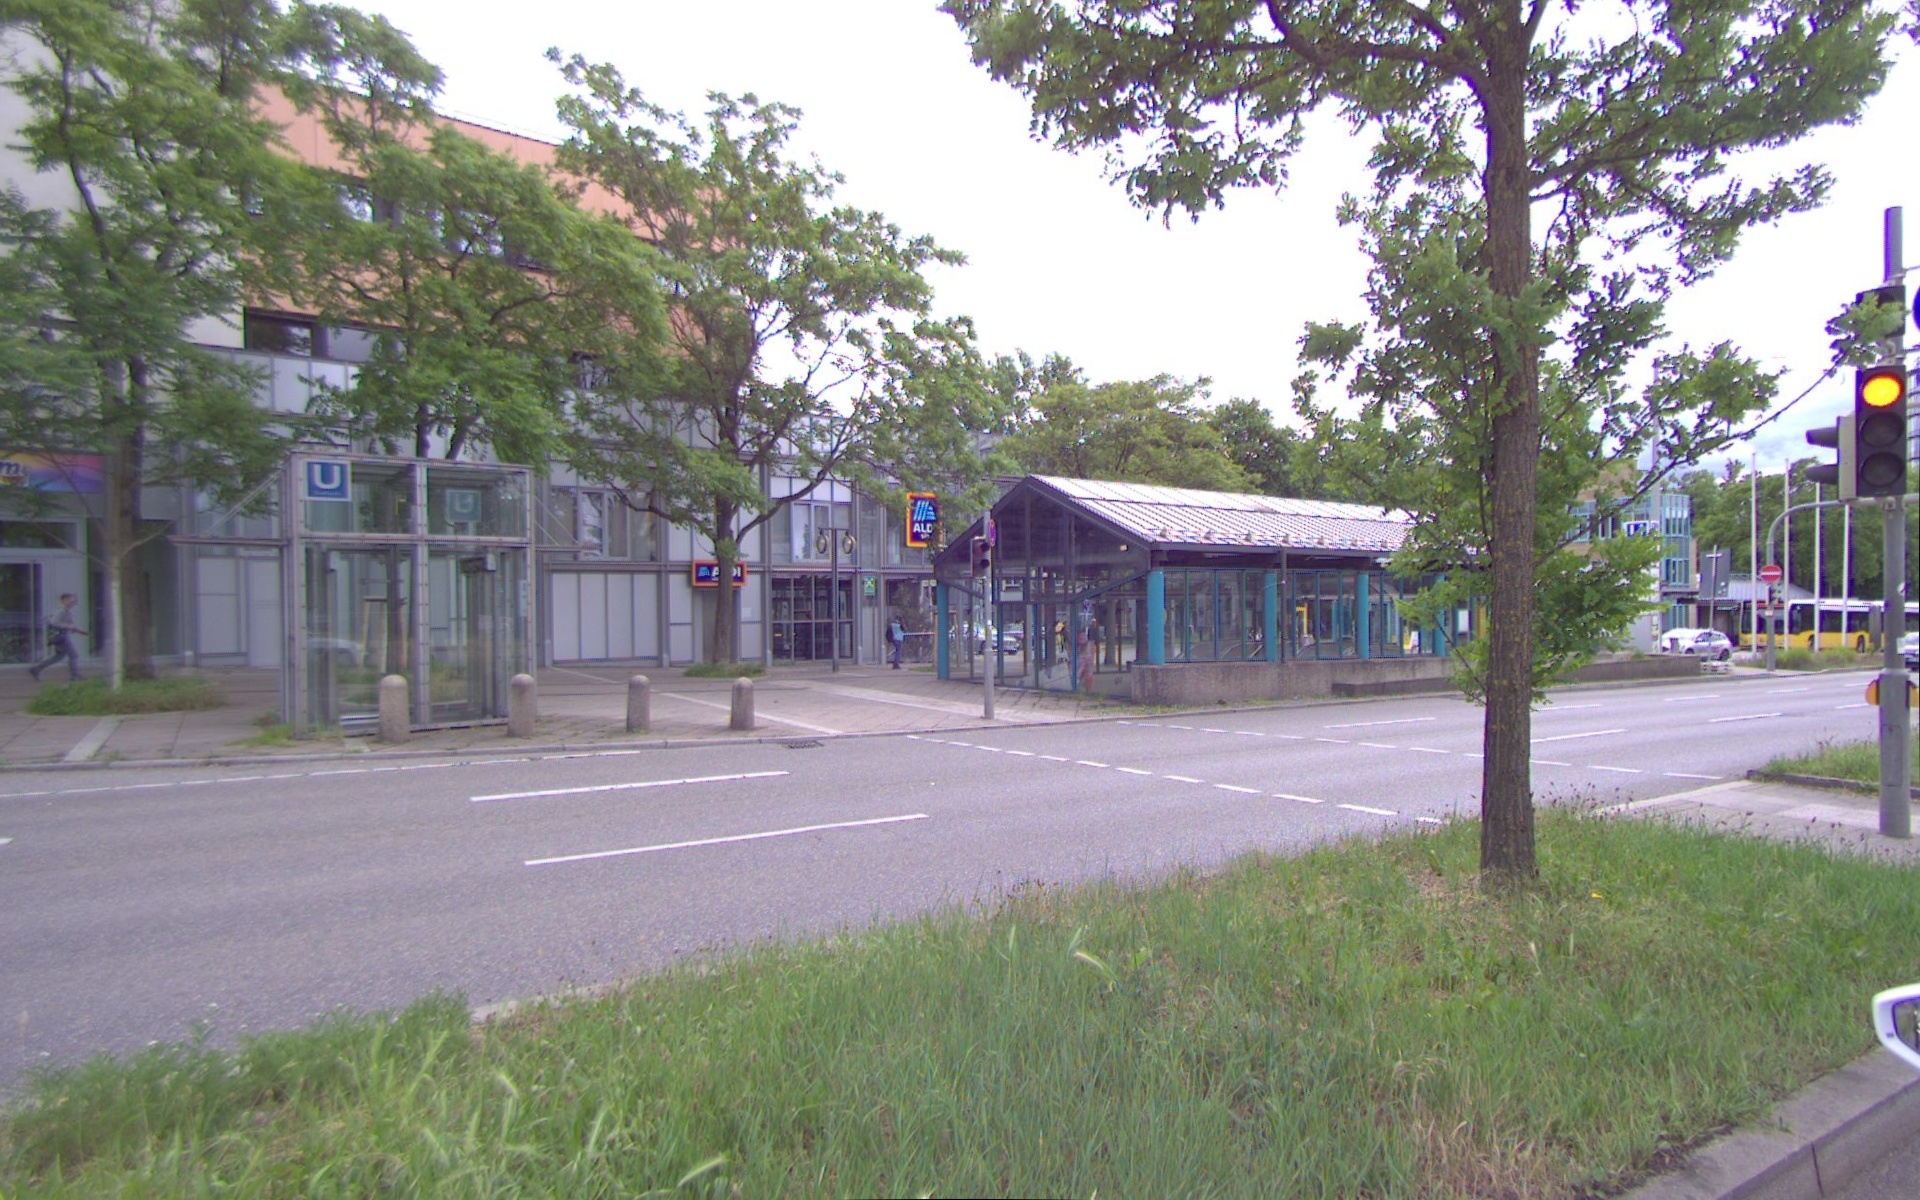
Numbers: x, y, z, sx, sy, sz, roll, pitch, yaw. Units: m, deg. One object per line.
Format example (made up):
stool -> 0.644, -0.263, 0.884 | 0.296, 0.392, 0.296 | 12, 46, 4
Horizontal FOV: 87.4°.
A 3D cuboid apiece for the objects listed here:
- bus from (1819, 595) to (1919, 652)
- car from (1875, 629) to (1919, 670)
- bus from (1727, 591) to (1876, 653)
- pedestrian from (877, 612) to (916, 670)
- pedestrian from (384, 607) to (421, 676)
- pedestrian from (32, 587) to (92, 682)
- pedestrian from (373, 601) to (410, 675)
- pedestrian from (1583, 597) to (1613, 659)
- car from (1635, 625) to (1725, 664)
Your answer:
bus -> 59.650, 1.561, 64.593 | 10.592, 3.476, 2.822 | 1, -1, -26
car -> 37.752, 1.920, 39.252 | 3.955, 1.505, 1.983 | 1, -1, -32
bus -> 50.205, 1.364, 59.827 | 10.592, 3.476, 2.822 | 1, -1, -26
pedestrian -> -1.957, 1.241, 30.862 | 0.879, 1.739, 0.764 | 1, 2, -39
pedestrian -> -13.126, 0.964, 23.648 | 0.674, 1.610, 0.513 | 1, -1, -39
pedestrian -> -16.995, 0.640, 19.024 | 0.783, 1.739, 0.764 | 1, 2, -39
pedestrian -> -13.597, 0.897, 24.022 | 0.674, 1.750, 0.560 | 1, -1, -39
pedestrian -> 21.363, 0.937, 33.633 | 0.639, 2.040, 0.677 | 1, -1, -34
car -> 32.384, 1.977, 45.157 | 3.951, 1.684, 1.798 | 1, -1, -29
